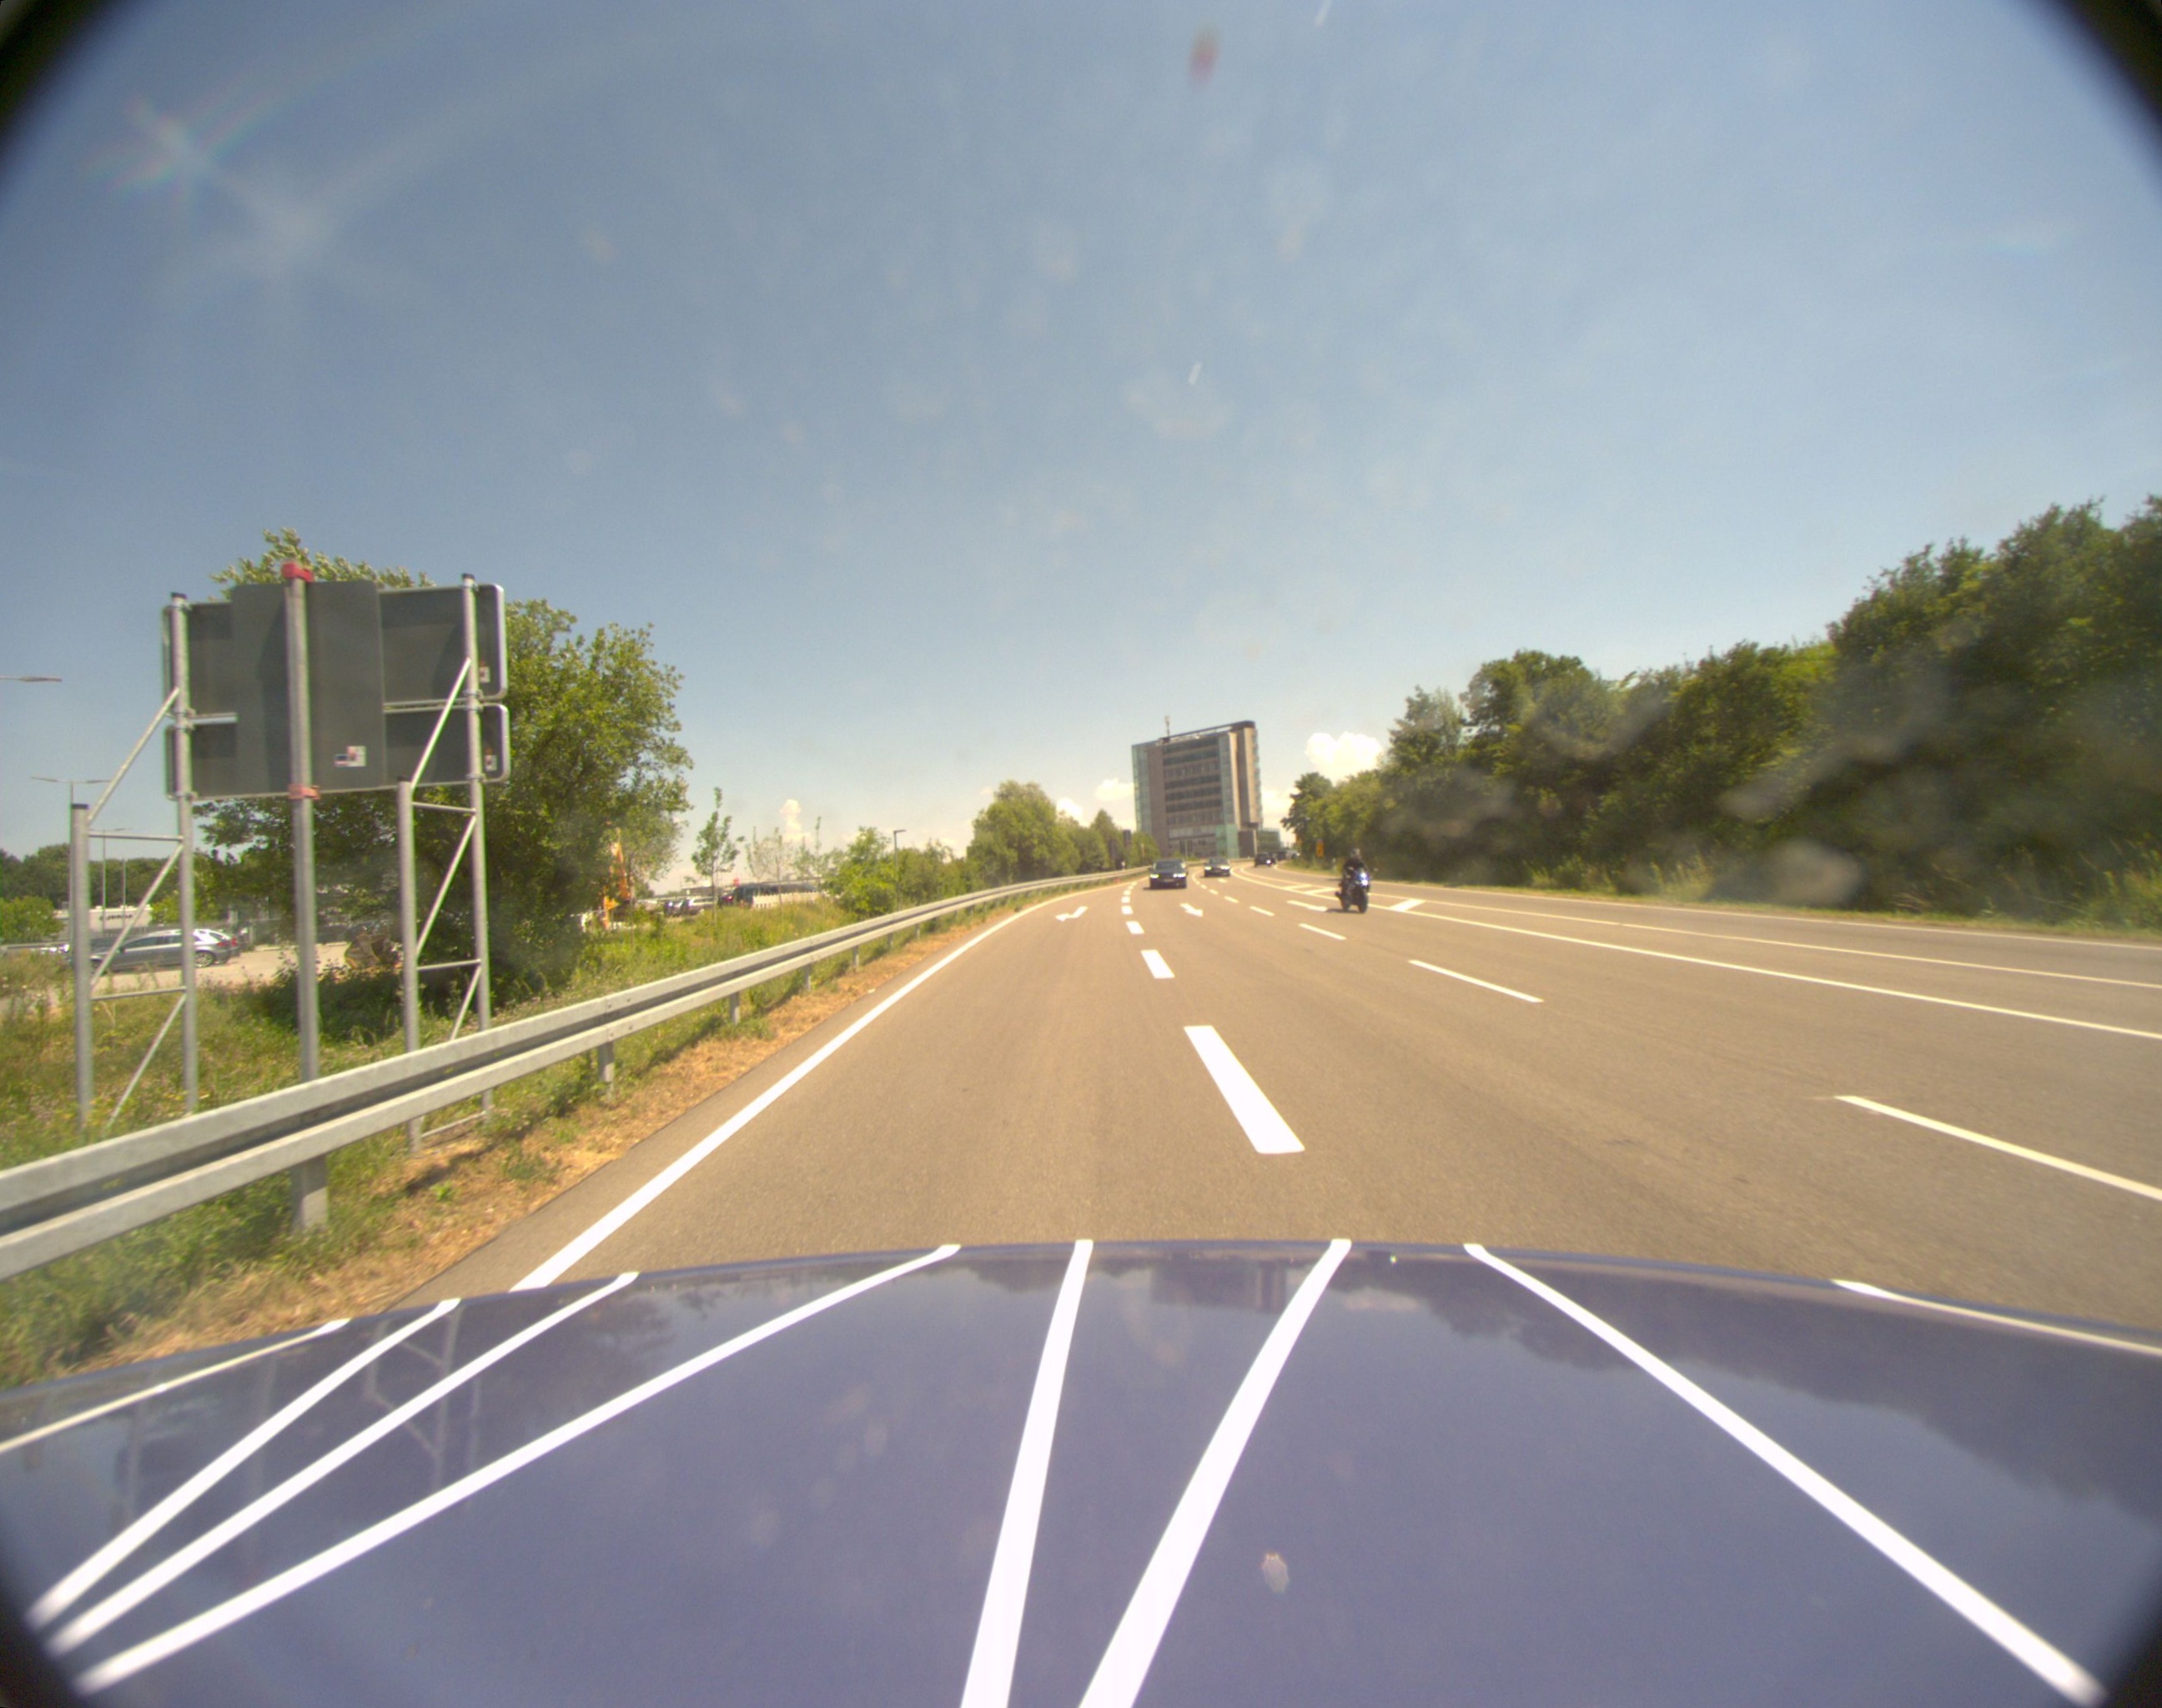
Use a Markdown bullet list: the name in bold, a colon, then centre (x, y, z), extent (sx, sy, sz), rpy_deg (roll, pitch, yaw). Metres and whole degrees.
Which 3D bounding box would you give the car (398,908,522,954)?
- **car**: centre (-28.536, 3.486, 35.037), extent (1.995, 1.663, 4.008), rpy_deg (-3, 0, 37)

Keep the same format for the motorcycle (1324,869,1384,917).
- **motorcycle**: centre (7.064, 0.982, 19.764), extent (0.734, 1.131, 2.072), rpy_deg (-1, 0, -2)

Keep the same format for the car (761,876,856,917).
- **car**: centre (-15.144, 2.369, 42.298), extent (4.441, 1.901, 2.066), rpy_deg (-4, -3, 7)

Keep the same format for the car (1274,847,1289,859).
- **car**: centre (35.026, -0.150, 132.664), extent (1.996, 1.883, 5.111), rpy_deg (-2, 0, 21)

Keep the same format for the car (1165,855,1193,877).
- **car**: centre (8.150, 1.039, 62.994), extent (1.932, 1.576, 4.185), rpy_deg (-6, -4, 10)

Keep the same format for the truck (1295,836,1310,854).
- **truck**: centre (47.568, -1.929, 163.538), extent (2.873, 3.553, 9.441), rpy_deg (-2, 0, 15)

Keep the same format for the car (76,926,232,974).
- **car**: centre (-44.043, 4.511, 36.288), extent (1.942, 1.627, 4.529), rpy_deg (-3, 0, 43)

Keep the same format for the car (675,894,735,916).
- **car**: centre (-31.672, 4.289, 64.067), extent (1.942, 1.559, 4.008), rpy_deg (-3, 0, 39)

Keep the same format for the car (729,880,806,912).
- **car**: centre (-24.458, 3.255, 59.403), extent (1.995, 2.157, 5.164), rpy_deg (-6, -3, 37)

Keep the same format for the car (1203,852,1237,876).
- **car**: centre (10.068, 0.729, 55.447), extent (2.116, 1.581, 4.453), rpy_deg (-3, 0, 7)

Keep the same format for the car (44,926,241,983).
- **car**: centre (-35.752, 3.779, 29.199), extent (1.995, 1.499, 4.622), rpy_deg (-2, 0, 42)

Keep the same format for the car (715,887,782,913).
- **car**: centre (-26.369, 3.630, 60.363), extent (1.943, 1.720, 4.328), rpy_deg (-6, -3, 38)

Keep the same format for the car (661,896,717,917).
- **car**: centre (-35.208, 4.686, 68.292), extent (1.942, 1.559, 4.008), rpy_deg (-3, 0, 39)

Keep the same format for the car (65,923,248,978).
- **car**: centre (-37.837, 3.892, 31.324), extent (2.009, 1.627, 4.598), rpy_deg (-3, 0, 43)

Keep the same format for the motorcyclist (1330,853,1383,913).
- **motorcyclist**: centre (7.075, 0.725, 19.566), extent (0.861, 1.479, 1.161), rpy_deg (-1, 0, -2)

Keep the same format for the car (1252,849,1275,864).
- **car**: centre (20.698, 0.269, 86.216), extent (1.996, 1.583, 4.688), rpy_deg (-2, 0, 19)

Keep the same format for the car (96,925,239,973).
- **car**: centre (-41.671, 4.277, 34.813), extent (1.942, 1.627, 4.008), rpy_deg (-3, 0, 43)

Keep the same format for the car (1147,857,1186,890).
- **car**: centre (4.389, 0.951, 38.447), extent (1.779, 1.497, 4.564), rpy_deg (-2, -1, 8)

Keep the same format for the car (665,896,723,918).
- **car**: centre (-33.478, 4.530, 65.821), extent (1.942, 1.559, 4.008), rpy_deg (-3, 0, 39)

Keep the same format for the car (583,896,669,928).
- **car**: centre (-27.945, 3.540, 46.747), extent (1.942, 1.559, 4.096), rpy_deg (-3, 0, 40)

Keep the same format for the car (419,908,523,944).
- **car**: centre (-33.878, 3.965, 42.284), extent (1.994, 1.535, 4.164), rpy_deg (-2, 0, 39)

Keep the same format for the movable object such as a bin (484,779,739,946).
- **movable object such as a bin**: centre (-17.385, 0.481, 29.318), extent (3.432, 5.227, 9.235), rpy_deg (-4, -3, 4)
